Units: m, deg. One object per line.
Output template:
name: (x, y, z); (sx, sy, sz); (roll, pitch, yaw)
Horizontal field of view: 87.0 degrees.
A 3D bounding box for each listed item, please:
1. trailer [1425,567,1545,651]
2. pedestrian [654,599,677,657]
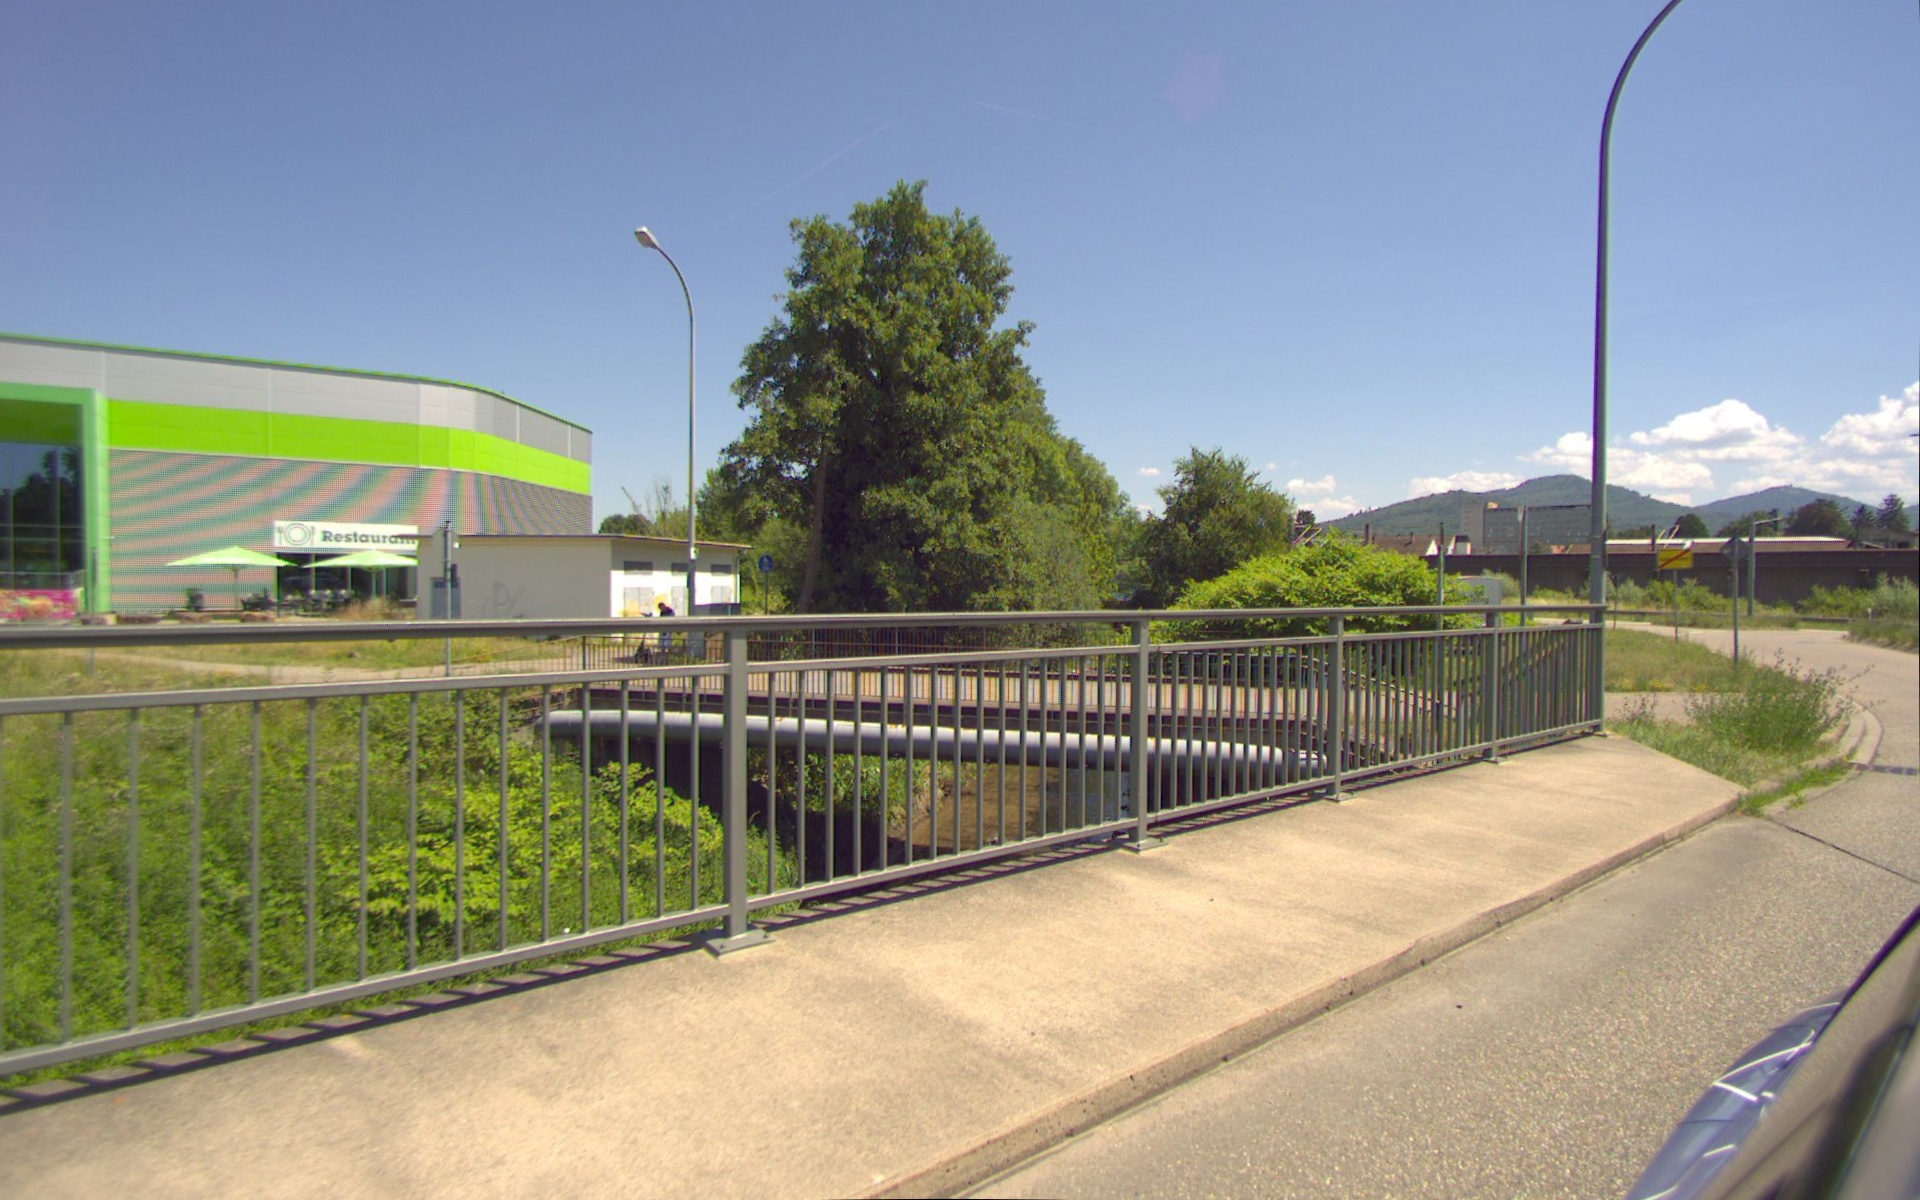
trailer: (14.071, 0.181, 27.368); (1.822, 2.104, 3.958); (0, 1, 11)
pedestrian: (-7.976, 0.750, 27.424); (0.433, 1.558, 0.410); (-1, -2, 24)
